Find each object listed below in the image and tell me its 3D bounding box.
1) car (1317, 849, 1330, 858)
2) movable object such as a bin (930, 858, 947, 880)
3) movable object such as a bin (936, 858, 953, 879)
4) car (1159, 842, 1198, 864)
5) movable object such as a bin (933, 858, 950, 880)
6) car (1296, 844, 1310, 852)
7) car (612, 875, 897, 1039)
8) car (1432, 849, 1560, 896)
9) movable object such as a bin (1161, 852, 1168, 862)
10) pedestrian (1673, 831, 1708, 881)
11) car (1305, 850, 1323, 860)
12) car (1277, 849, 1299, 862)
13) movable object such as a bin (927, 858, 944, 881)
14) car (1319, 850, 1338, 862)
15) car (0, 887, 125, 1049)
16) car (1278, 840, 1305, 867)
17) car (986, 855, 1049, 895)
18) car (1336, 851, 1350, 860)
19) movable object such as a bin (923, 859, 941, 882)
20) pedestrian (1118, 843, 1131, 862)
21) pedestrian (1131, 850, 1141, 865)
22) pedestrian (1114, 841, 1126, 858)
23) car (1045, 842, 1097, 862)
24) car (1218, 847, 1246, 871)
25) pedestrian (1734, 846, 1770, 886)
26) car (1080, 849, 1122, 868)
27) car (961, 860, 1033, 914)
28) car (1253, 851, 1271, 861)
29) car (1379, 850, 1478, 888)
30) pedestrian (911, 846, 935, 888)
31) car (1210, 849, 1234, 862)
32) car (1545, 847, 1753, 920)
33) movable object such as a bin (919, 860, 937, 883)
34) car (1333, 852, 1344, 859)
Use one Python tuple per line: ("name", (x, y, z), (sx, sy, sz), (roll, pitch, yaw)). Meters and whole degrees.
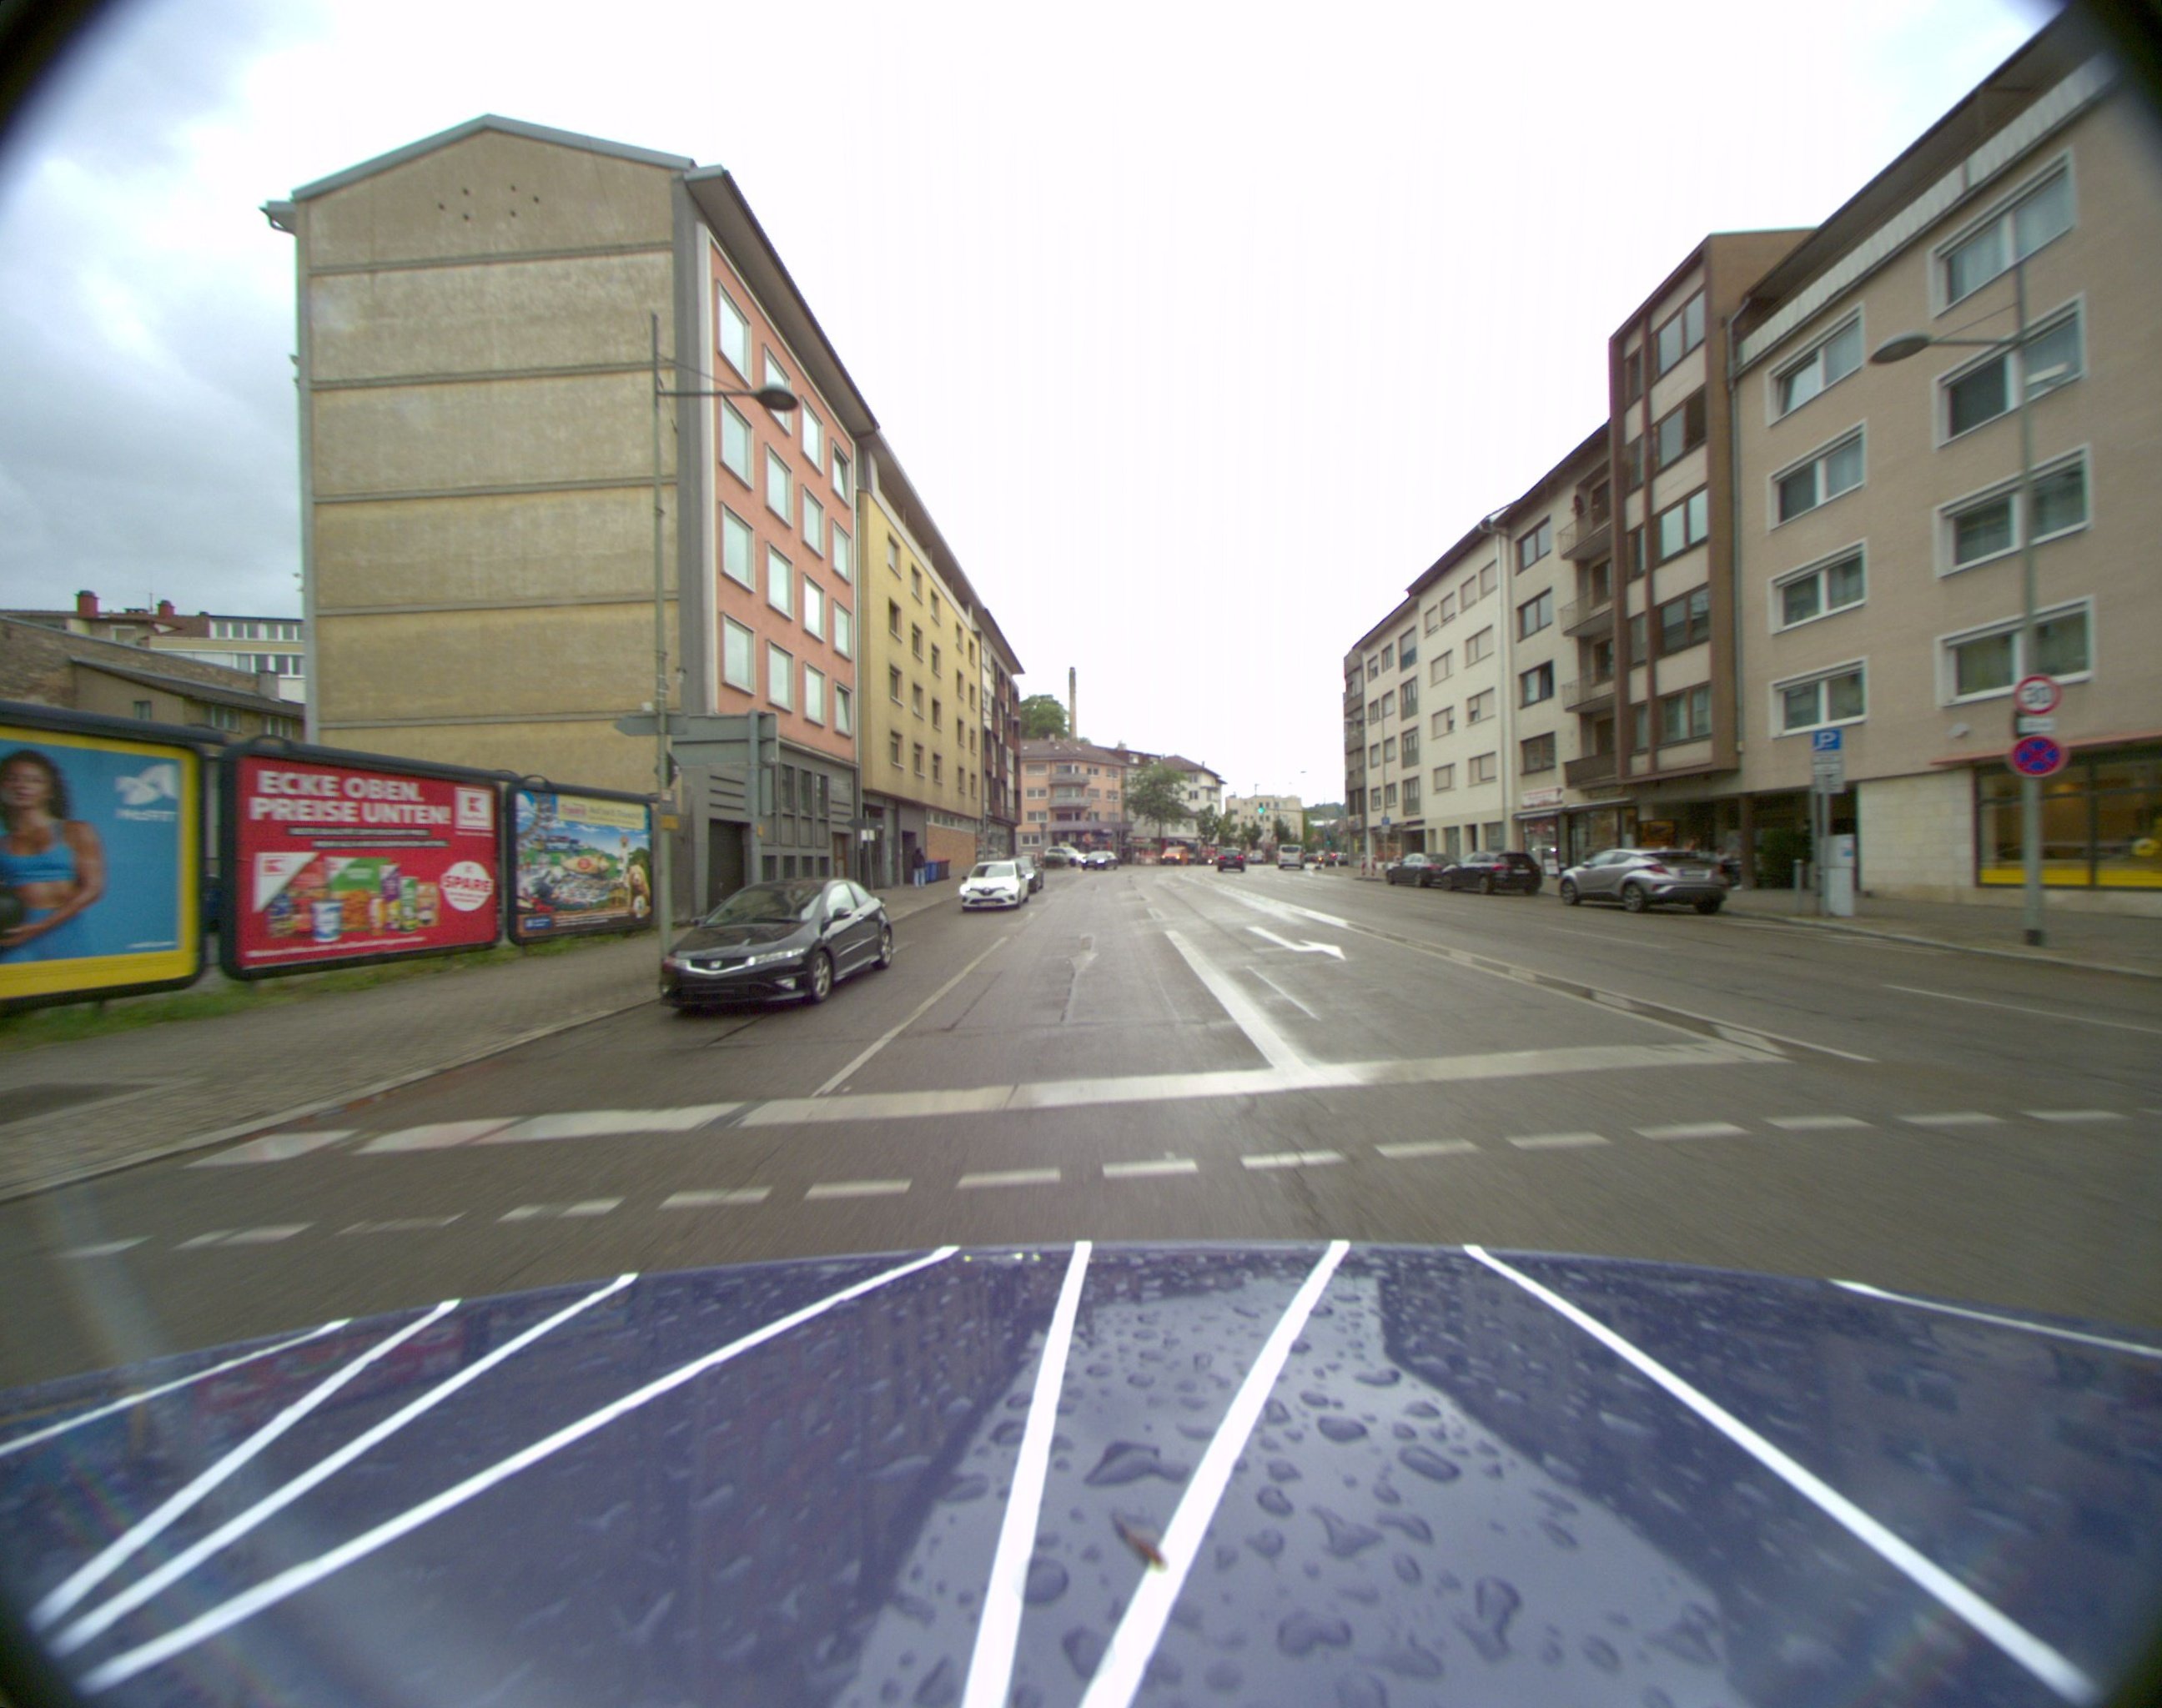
("car", (39.391, -0.055, 123.484), (1.826, 1.358, 4.610), (1, 1, 21))
("movable object such as a bin", (-7.159, 0.753, 38.176), (0.682, 1.070, 0.668), (-1, 1, 2))
("movable object such as a bin", (-7.100, 0.738, 39.550), (0.682, 1.070, 0.668), (-1, 1, 2))
("car", (10.263, -0.146, 79.529), (2.194, 2.074, 5.943), (-1, 1, 25))
("movable object such as a bin", (-7.123, 0.752, 38.863), (0.682, 1.070, 0.668), (-1, 1, 2))
("car", (41.108, -1.074, 140.611), (1.854, 1.465, 4.656), (0, 1, 25))
("car", (-3.886, 1.133, 9.922), (1.788, 1.488, 4.057), (-3, 0, 2))
("car", (14.484, 0.594, 26.864), (1.999, 1.468, 4.517), (0, 1, -1))
("movable object such as a bin", (9.326, 0.326, 84.793), (0.621, 1.025, 0.532), (1, 0, 23))
("pedestrian", (19.502, 0.066, 24.318), (0.544, 1.574, 0.669), (-2, 1, -11))
("car", (33.691, 0.102, 109.881), (1.985, 1.451, 4.493), (1, 1, 23))
("car", (23.642, 0.181, 86.833), (1.684, 1.464, 4.007), (2, 1, 26))
("movable object such as a bin", (-7.188, 0.763, 37.495), (0.682, 1.070, 0.668), (-1, 1, 2))
("car", (32.933, 0.269, 100.914), (1.723, 1.391, 3.602), (-2, -2, 29))
("car", (-12.395, 1.166, 7.248), (3.663, 1.542, 2.087), (-1, 0, -5))
("car", (18.132, -0.048, 65.355), (2.121, 2.003, 5.133), (-3, 1, 16))
("car", (-2.566, 0.804, 32.039), (2.039, 1.380, 5.293), (0, 2, 2))
("car", (42.671, 0.218, 123.820), (1.930, 1.465, 4.610), (2, 1, 22))
("movable object such as a bin", (-7.214, 0.782, 36.811), (0.682, 1.070, 0.668), (-1, 1, 2))
("pedestrian", (4.257, -0.135, 74.453), (0.920, 1.851, 1.029), (-1, 3, -18))
("pedestrian", (6.662, 0.418, 91.953), (0.991, 1.869, 0.658), (1, 3, 16))
("pedestrian", (3.768, -0.436, 73.389), (0.822, 1.679, 0.792), (-1, 3, -24))
("car", (-0.937, -0.185, 68.397), (2.004, 1.711, 4.783), (0, 2, -42))
("car", (10.695, 0.311, 53.816), (1.865, 1.637, 4.257), (0, 1, 11))
("pedestrian", (19.735, 0.359, 22.349), (0.673, 1.141, 0.596), (-1, 1, 30))
("car", (1.563, 0.315, 58.054), (1.809, 1.331, 4.284), (0, 1, 21))
("car", (-2.554, 0.969, 23.952), (1.680, 1.395, 4.000), (-3, 1, 1))
("car", (27.176, 0.259, 114.011), (1.811, 1.334, 4.006), (-3, 0, 23))
("car", (14.591, 0.566, 32.247), (1.887, 1.468, 4.978), (0, 1, 0))
("pedestrian", (-6.897, 0.568, 33.237), (0.674, 1.777, 1.095), (-2, 1, 5))
("car", (17.412, 0.200, 93.640), (1.840, 1.433, 4.006), (-3, 0, 26))
("car", (13.786, 0.618, 18.890), (1.912, 1.545, 4.631), (0, 1, 4))
("movable object such as a bin", (-7.253, 0.815, 36.111), (0.682, 1.070, 0.668), (-1, 1, 2))
("car", (53.131, 0.308, 157.004), (1.831, 1.534, 4.291), (0, 0, 23))
